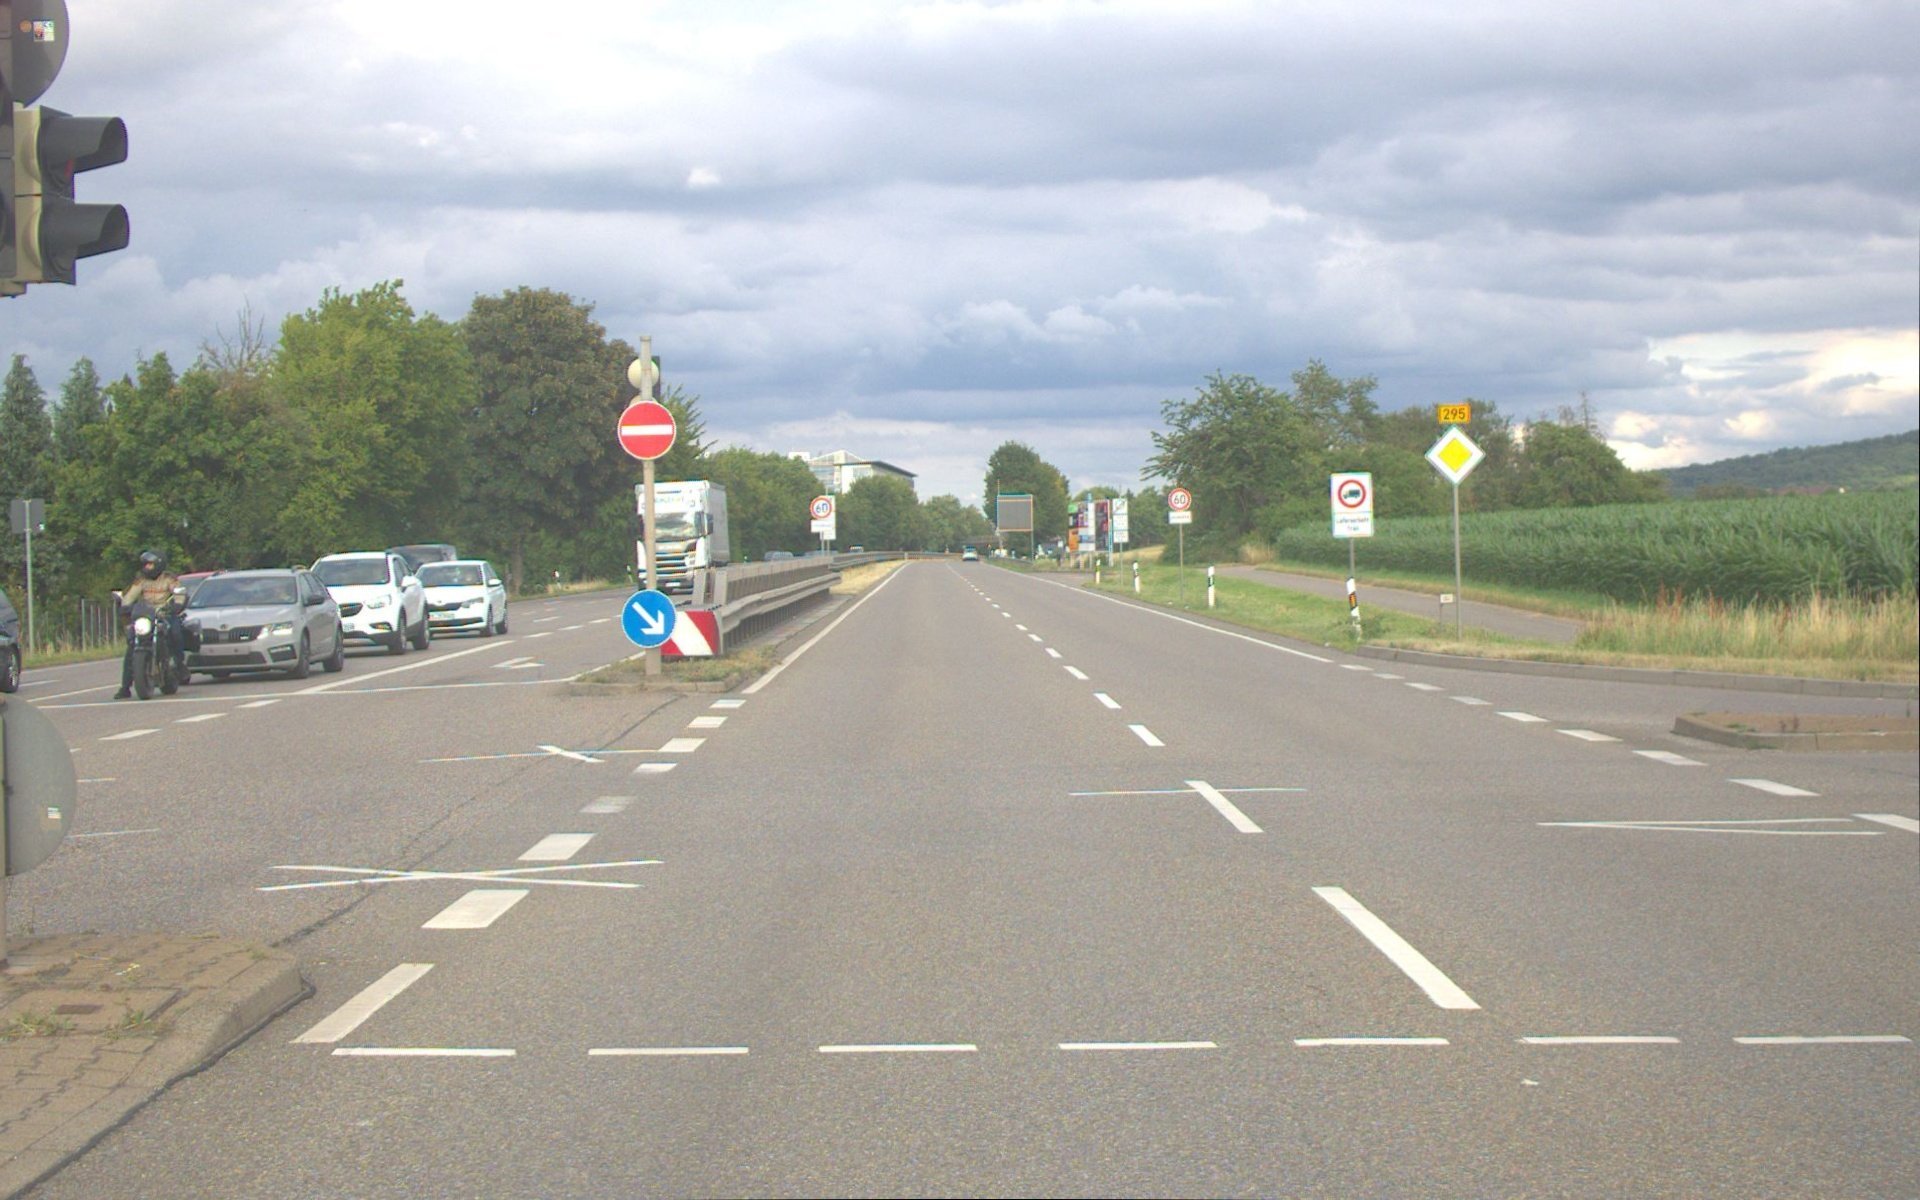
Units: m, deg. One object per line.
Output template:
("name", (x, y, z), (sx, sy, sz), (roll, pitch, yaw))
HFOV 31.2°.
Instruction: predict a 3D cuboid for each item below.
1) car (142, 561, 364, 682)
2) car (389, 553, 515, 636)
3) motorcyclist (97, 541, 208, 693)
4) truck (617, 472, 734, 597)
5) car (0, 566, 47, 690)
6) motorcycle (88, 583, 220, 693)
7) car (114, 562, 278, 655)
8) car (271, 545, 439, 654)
("car", (-9.300, 0.236, 45.625), (1.907, 1.423, 5.152), (-2, 1, -1))
("car", (-9.608, -0.133, 65.281), (1.789, 1.439, 4.161), (-2, 1, -1))
("motorcyclist", (-9.373, 0.190, 39.947), (0.916, 1.703, 1.276), (-2, 0, 0))
("truck", (-10.034, -2.309, 121.791), (3.474, 4.136, 6.050), (-3, 1, 0))
("car", (-12.987, 0.390, 42.878), (1.907, 1.530, 4.939), (-2, 1, -1))
("motorcycle", (-9.374, 0.424, 40.074), (0.916, 1.199, 2.479), (-2, 1, 0))
("car", (-13.158, 0.116, 59.440), (1.907, 1.460, 4.184), (-2, 1, -1))
("car", (-9.587, -0.044, 54.822), (1.907, 1.604, 4.405), (-2, 1, -1))
